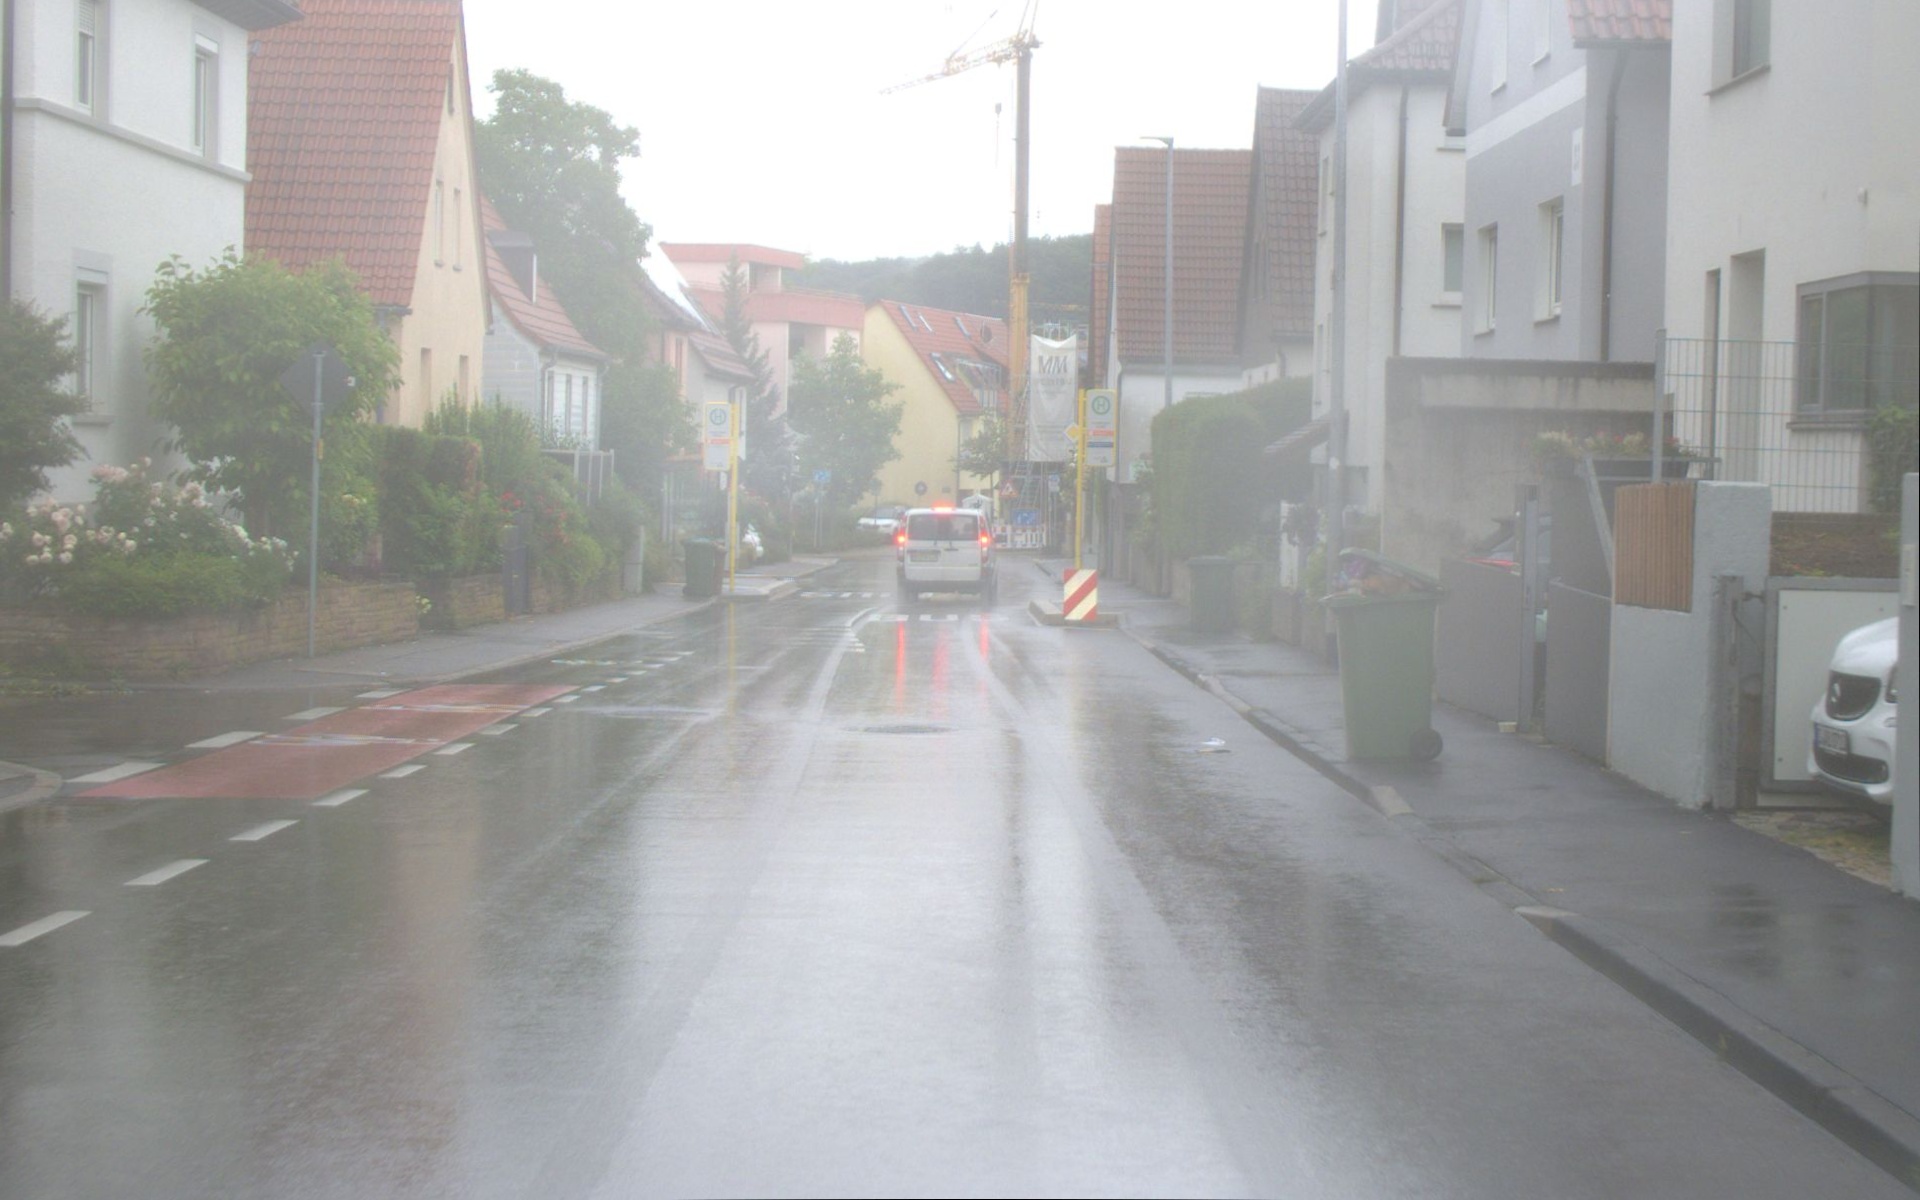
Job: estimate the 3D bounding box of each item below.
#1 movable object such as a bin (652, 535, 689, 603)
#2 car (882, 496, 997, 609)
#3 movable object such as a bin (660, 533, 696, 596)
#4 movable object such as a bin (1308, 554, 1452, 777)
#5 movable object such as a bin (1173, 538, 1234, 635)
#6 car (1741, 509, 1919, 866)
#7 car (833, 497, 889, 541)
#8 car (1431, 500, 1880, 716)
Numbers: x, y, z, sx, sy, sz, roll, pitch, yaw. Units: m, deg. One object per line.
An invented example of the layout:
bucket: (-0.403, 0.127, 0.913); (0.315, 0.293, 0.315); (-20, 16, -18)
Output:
movable object such as a bin: (-5.874, -0.628, 69.755); (0.682, 1.318, 0.639); (2, 4, -5)
car: (-0.371, -0.982, 68.318); (2.117, 1.881, 4.503); (3, 4, 0)
movable object such as a bin: (-5.792, -0.728, 70.483); (0.682, 1.219, 0.639); (2, 4, -5)
movable object such as a bin: (2.555, 0.388, 20.988); (0.745, 1.274, 0.882); (1, 4, 0)
movable object such as a bin: (3.408, -0.192, 48.072); (0.785, 1.272, 0.714); (3, 4, 4)
car: (5.529, 0.362, 15.718); (3.493, 1.516, 1.739); (0, 2, 0)
car: (-4.137, -3.411, 144.310); (1.842, 1.573, 4.289); (3, 4, 5)
car: (5.799, 0.044, 28.921); (3.373, 1.557, 1.515); (3, 4, 0)
